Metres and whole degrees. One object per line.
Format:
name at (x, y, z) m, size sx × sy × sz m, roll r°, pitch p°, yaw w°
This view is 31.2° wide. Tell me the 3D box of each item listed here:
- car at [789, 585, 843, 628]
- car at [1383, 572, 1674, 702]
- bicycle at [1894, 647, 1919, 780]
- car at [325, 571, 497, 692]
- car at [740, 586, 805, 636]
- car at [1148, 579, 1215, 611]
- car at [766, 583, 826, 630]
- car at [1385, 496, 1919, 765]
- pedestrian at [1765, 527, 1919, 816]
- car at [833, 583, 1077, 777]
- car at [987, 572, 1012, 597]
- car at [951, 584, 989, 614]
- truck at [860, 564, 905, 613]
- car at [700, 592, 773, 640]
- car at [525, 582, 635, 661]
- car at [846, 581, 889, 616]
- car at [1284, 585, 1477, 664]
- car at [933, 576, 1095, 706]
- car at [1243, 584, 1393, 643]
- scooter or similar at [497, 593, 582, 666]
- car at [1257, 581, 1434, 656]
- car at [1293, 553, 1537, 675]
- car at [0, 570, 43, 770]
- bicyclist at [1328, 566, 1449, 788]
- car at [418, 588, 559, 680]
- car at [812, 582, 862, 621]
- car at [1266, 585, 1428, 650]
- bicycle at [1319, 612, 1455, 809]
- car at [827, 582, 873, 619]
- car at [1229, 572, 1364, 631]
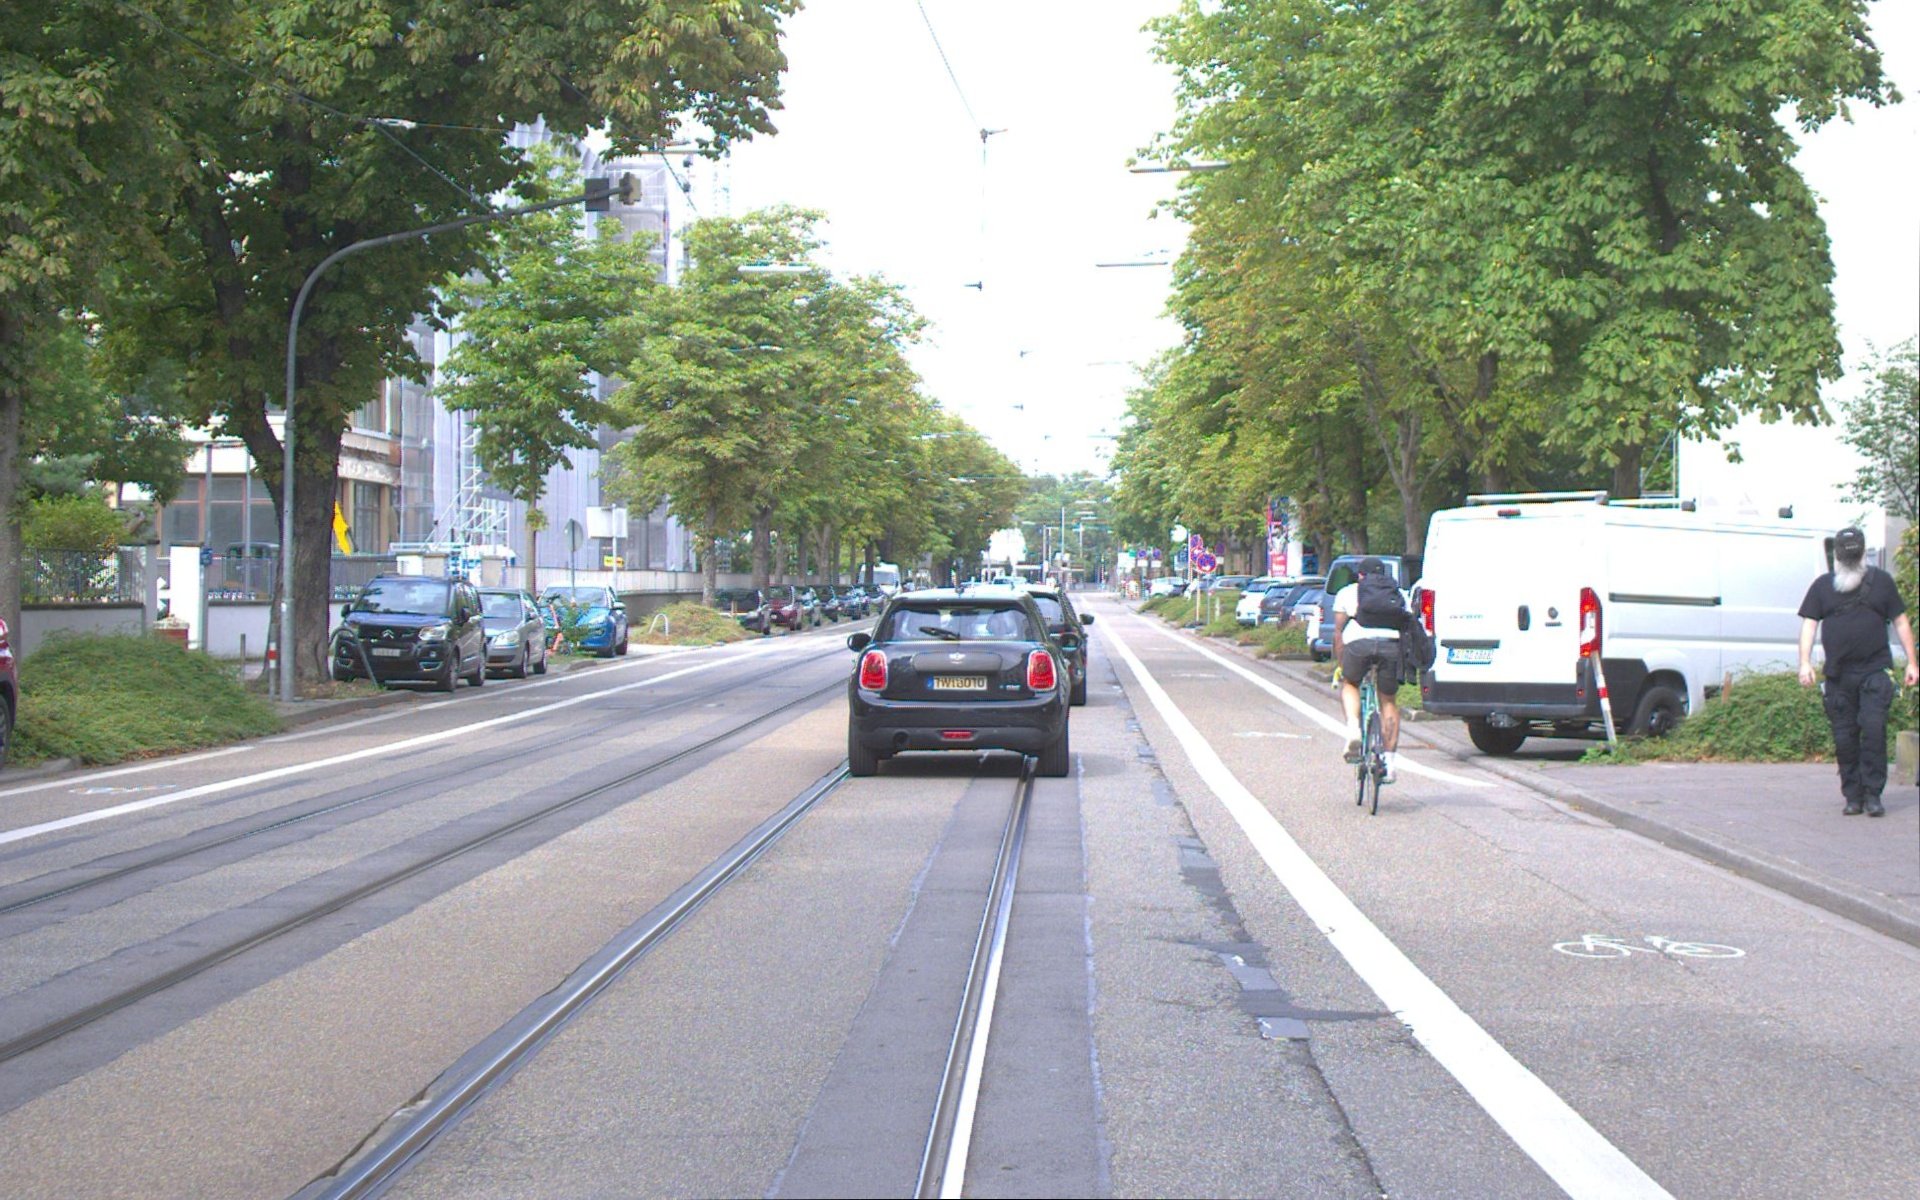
car at (-5.536, 0.250, 132.364) m, size 1.802 × 1.578 × 4.031 m, roll -1°, pitch 0°, yaw 1°
car at (7.641, 0.486, 46.005) m, size 4.097 × 1.663 × 1.688 m, roll 1°, pitch 0°, yaw -43°
bicycle at (6.795, 0.779, 23.336) m, size 0.386 × 0.904 × 1.842 m, roll -1°, pitch 0°, yaw 0°
car at (-7.919, 0.429, 49.906) m, size 1.756 × 1.641 × 4.052 m, roll 1°, pitch 0°, yaw 1°
car at (-6.121, 0.364, 112.768) m, size 1.802 × 1.578 × 4.031 m, roll -1°, pitch 0°, yaw 1°
car at (13.799, -0.328, 214.484) m, size 3.987 × 1.904 × 2.000 m, roll 1°, pitch 0°, yaw -1°
car at (-5.790, 0.225, 121.632) m, size 1.802 × 1.578 × 4.031 m, roll -1°, pitch 0°, yaw 1°
car at (6.500, 0.271, 31.765) m, size 4.944 × 2.282 × 2.384 m, roll 1°, pitch 0°, yaw -41°
pedestrian at (5.504, 0.429, 21.275) m, size 0.785 × 1.727 × 0.896 m, roll -2°, pitch 0°, yaw 1°
car at (-0.058, 0.588, 27.583) m, size 1.793 × 1.418 × 4.000 m, roll 1°, pitch 0°, yaw -1°
car at (2.913, -1.128, 252.985) m, size 1.802 × 1.817 × 4.484 m, roll -1°, pitch 0°, yaw 1°
car at (0.524, -0.062, 173.451) m, size 1.835 × 1.443 × 4.553 m, roll 0°, pitch 0°, yaw 1°
truck at (-3.937, -0.592, 176.033) m, size 2.071 × 2.462 × 4.899 m, roll -1°, pitch 0°, yaw 1°
car at (-6.626, 0.467, 102.223) m, size 1.802 × 1.369 × 4.031 m, roll -1°, pitch 0°, yaw 1°
car at (-7.524, 0.408, 68.392) m, size 1.693 × 1.482 × 3.677 m, roll 1°, pitch 0°, yaw 1°
car at (-4.370, -0.080, 162.941) m, size 1.802 × 1.578 × 4.031 m, roll -1°, pitch 0°, yaw 1°
car at (8.013, 0.467, 65.315) m, size 1.639 × 1.455 × 3.819 m, roll 0°, pitch 0°, yaw 45°
car at (0.620, 0.471, 42.326) m, size 1.793 × 1.465 × 4.000 m, roll 2°, pitch 0°, yaw -1°
car at (8.925, 0.323, 85.619) m, size 3.524 × 1.438 × 1.623 m, roll 0°, pitch 0°, yaw -37°
scooter or similar at (-7.848, 0.547, 64.225) m, size 1.444 × 1.339 × 0.700 m, roll -1°, pitch 0°, yaw 4°
car at (8.077, 0.385, 71.879) m, size 3.729 × 1.517 × 1.640 m, roll 1°, pitch 0°, yaw -43°
car at (7.797, 0.237, 58.710) m, size 4.264 × 2.008 × 1.830 m, roll 1°, pitch 0°, yaw -43°
car at (-8.778, 0.557, 27.186) m, size 1.721 × 1.649 × 4.542 m, roll 2°, pitch 0°, yaw 1°
bicyclist at (2.894, 0.502, 23.319) m, size 0.657 × 1.458 × 1.178 m, roll 1°, pitch 0°, yaw 1°
car at (-7.715, 0.529, 56.502) m, size 1.693 × 1.423 × 3.868 m, roll 1°, pitch 0°, yaw 1°
car at (-5.087, 0.059, 142.589) m, size 1.802 × 1.578 × 4.031 m, roll -1°, pitch 0°, yaw 1°
car at (8.902, 0.400, 78.950) m, size 3.729 × 1.454 × 1.640 m, roll 1°, pitch 0°, yaw -43°
bicycle at (2.887, 0.720, 23.422) m, size 0.657 × 1.244 × 2.125 m, roll 1°, pitch 0°, yaw 1°
car at (-4.837, 0.000, 151.545) m, size 1.802 × 1.578 × 4.031 m, roll -1°, pitch 0°, yaw 1°
car at (8.983, 0.036, 91.646) m, size 3.436 × 1.567 × 1.560 m, roll 0°, pitch 0°, yaw -37°
